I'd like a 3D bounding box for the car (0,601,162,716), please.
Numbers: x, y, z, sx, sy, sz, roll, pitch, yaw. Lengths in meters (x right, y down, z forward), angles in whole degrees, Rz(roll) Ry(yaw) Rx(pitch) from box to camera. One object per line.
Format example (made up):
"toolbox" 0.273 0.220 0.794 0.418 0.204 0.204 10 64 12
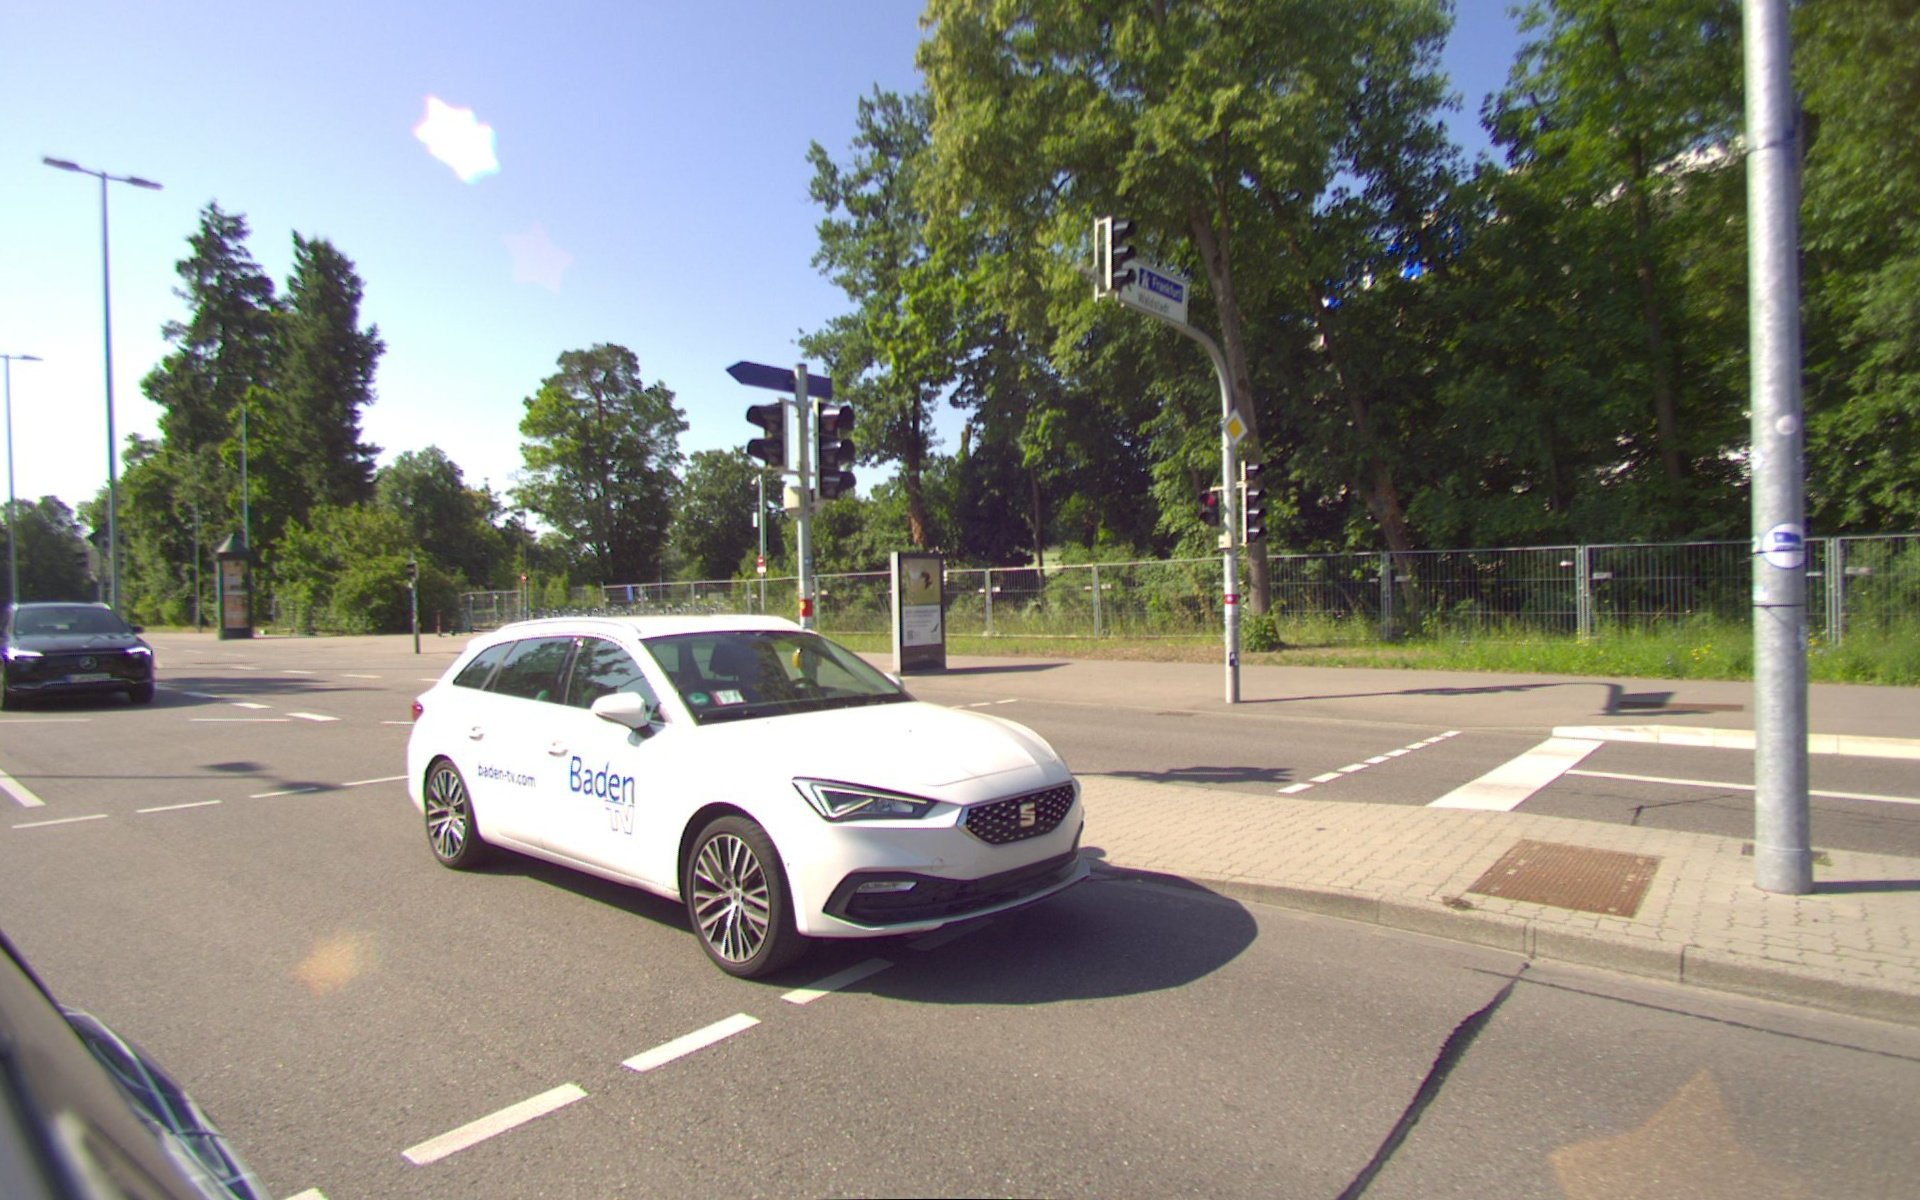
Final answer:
"car" -14.537 0.852 16.293 4.269 1.608 1.786 -1 -1 40

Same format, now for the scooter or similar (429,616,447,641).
"scooter or similar" -24.232 1.313 46.948 0.390 1.154 1.197 -1 0 -43

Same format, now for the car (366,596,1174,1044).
"car" -1.378 0.749 5.452 4.717 1.437 1.707 -1 -1 41

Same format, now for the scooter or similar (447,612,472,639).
"scooter or similar" -23.580 1.175 47.686 0.393 1.231 1.075 -1 0 17
